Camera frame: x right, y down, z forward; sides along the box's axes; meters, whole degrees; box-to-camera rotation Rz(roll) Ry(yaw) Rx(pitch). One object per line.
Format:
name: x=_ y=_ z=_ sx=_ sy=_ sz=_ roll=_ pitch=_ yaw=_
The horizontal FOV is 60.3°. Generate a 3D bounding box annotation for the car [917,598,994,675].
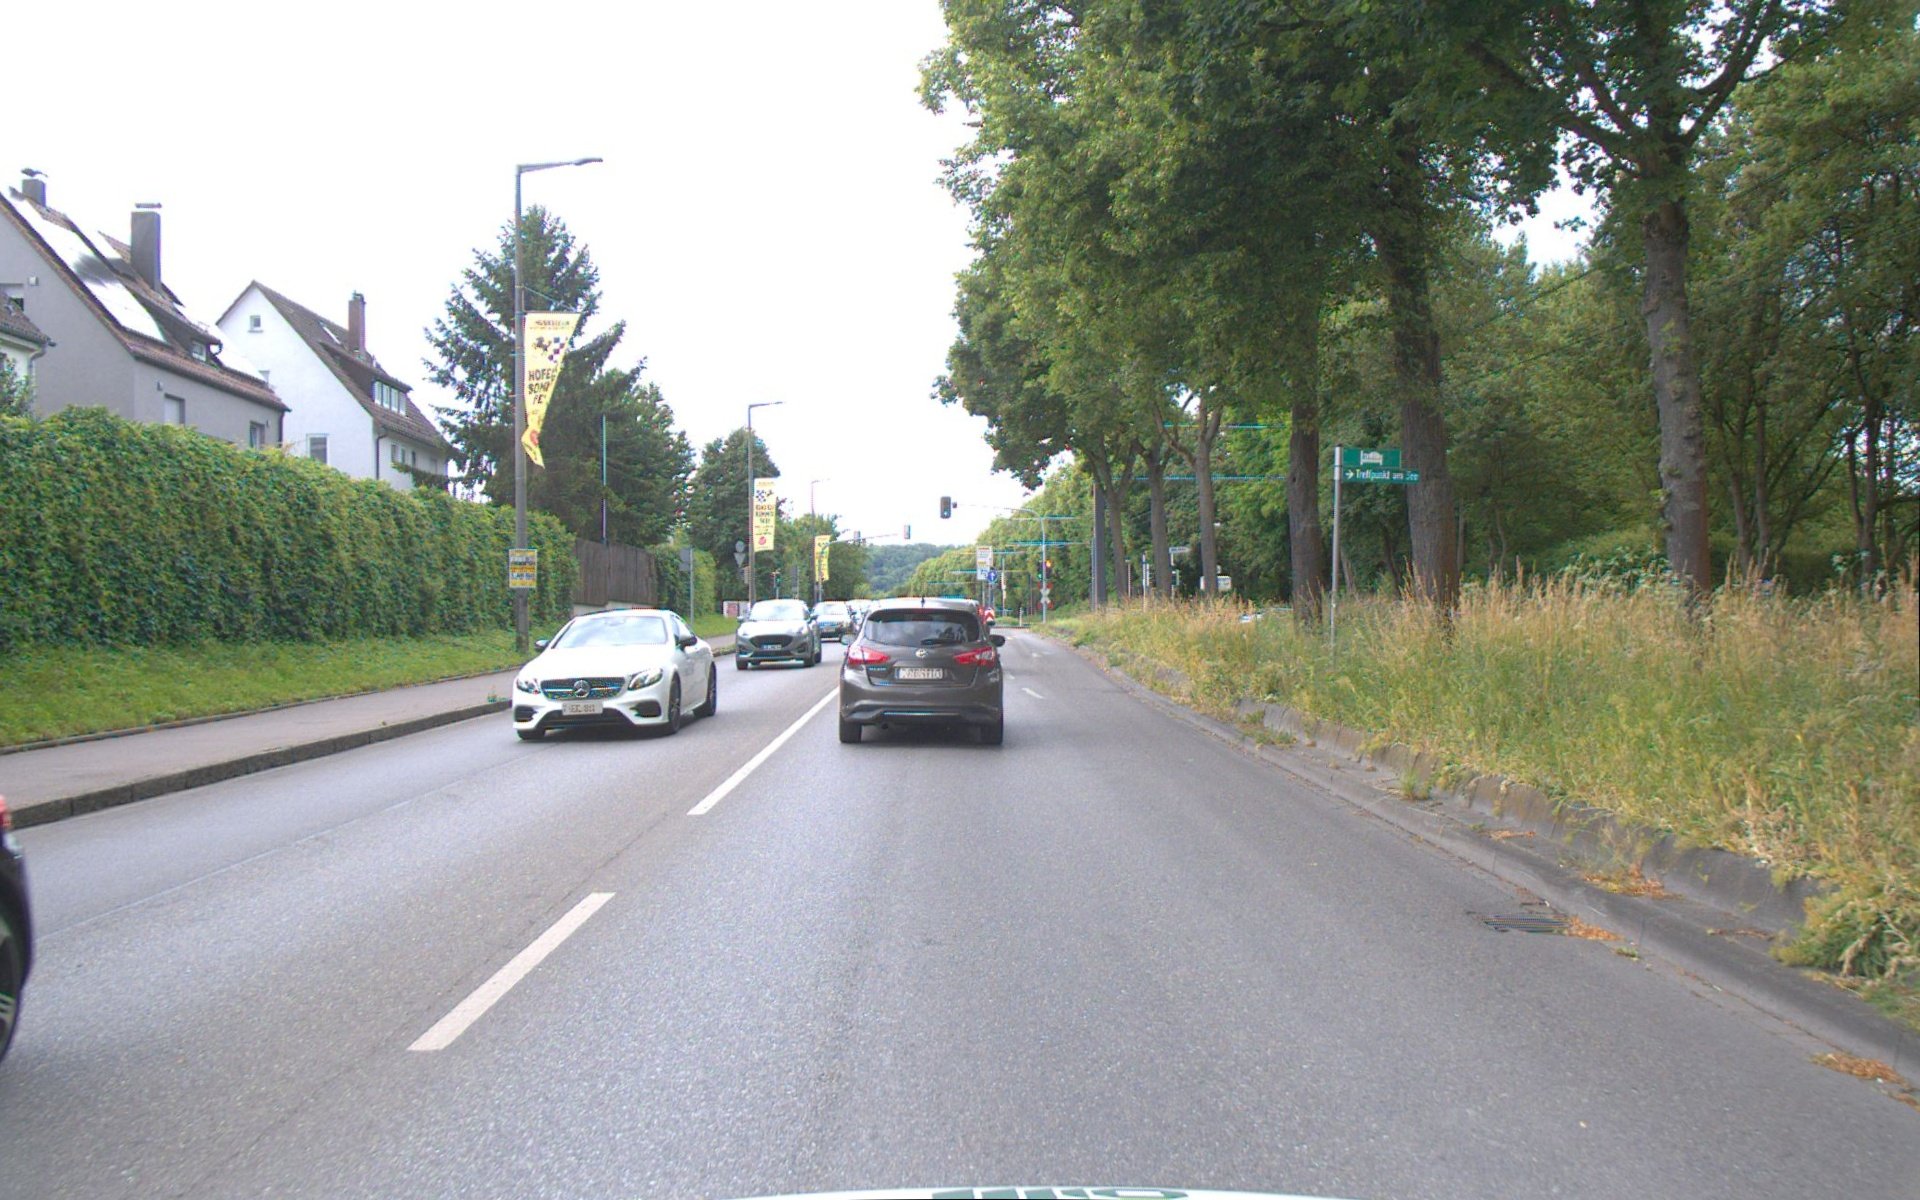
car: x=-0.103 y=0.712 z=34.329 sx=1.507 sy=1.504 sz=3.763 roll=-1 pitch=0 yaw=0

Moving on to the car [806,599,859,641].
car: x=-4.816 y=0.732 z=62.781 sx=1.693 sy=1.490 sz=4.152 roll=-2 pitch=0 yaw=-1

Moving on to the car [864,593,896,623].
car: x=-4.300 y=0.442 z=89.428 sx=1.610 sy=1.507 sz=4.105 roll=-2 pitch=0 yaw=-2

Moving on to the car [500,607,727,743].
car: x=-4.157 y=0.841 z=20.574 sx=1.847 sy=1.407 sz=4.490 roll=-2 pitch=0 yaw=0

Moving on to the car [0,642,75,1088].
car: x=-3.786 y=0.857 z=3.322 sx=1.617 sy=1.371 sz=4.477 roll=-2 pitch=0 yaw=-1

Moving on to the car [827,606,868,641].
car: x=-5.356 y=1.103 z=79.136 sx=1.585 sy=1.487 sz=4.072 roll=-4 pitch=0 yaw=0

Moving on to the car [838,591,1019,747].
car: x=-0.333 y=0.689 z=18.913 sx=1.798 sy=1.545 sz=4.482 roll=1 pitch=0 yaw=0

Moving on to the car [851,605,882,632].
car: x=-5.839 y=1.133 z=103.282 sx=1.776 sy=1.550 sz=4.175 roll=-2 pitch=0 yaw=-2

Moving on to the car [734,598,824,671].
car: x=-4.191 y=0.771 z=38.796 sx=1.716 sy=1.545 sz=3.999 roll=-2 pitch=0 yaw=-2
